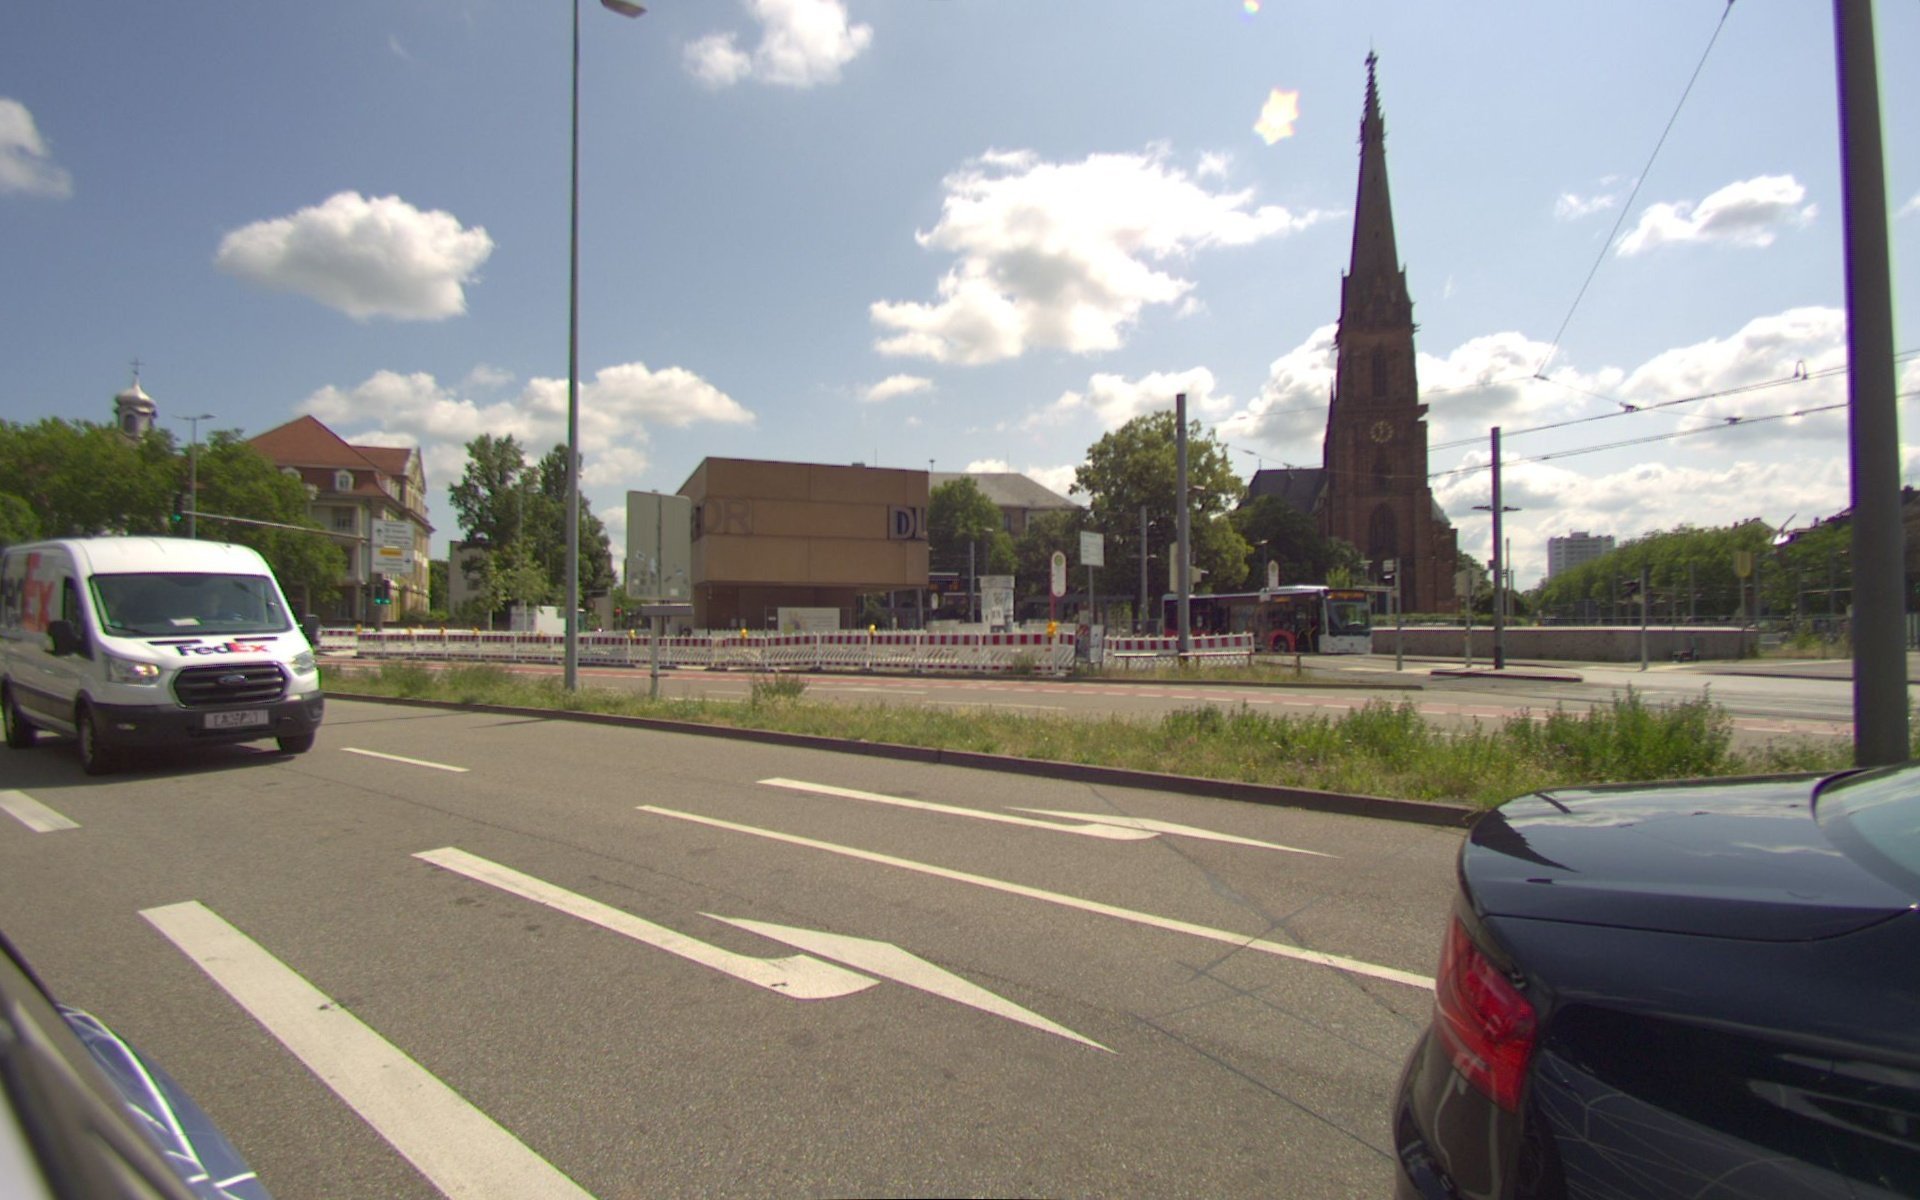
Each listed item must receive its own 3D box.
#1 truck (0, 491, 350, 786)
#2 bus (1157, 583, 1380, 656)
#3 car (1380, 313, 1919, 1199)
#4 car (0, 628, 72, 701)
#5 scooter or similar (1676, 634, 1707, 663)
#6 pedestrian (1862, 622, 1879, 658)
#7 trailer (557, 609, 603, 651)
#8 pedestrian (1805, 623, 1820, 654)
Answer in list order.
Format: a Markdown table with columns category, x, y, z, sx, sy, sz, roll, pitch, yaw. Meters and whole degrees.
| category | x | y | z | sx | sy | sz | roll | pitch | yaw |
| --- | --- | --- | --- | --- | --- | --- | --- | --- | --- |
| truck | -9.500 | 0.419 | 11.784 | 5.908 | 2.660 | 2.117 | -2 | -1 | 38 |
| bus | 13.440 | 0.773 | 45.972 | 2.550 | 2.881 | 12.307 | 0 | 0 | -22 |
| car | 2.953 | 0.521 | 0.388 | 4.791 | 1.654 | 1.907 | -2 | -2 | 42 |
| car | -21.324 | 1.368 | 21.542 | 4.486 | 1.445 | 1.741 | -1 | -1 | 21 |
| scooter or similar | 27.770 | 1.839 | 38.431 | 1.111 | 1.098 | 0.243 | 0 | 0 | -11 |
| pedestrian | 46.085 | 2.024 | 51.225 | 0.520 | 1.806 | 0.619 | 0 | -1 | -42 |
| trailer | -28.009 | 2.149 | 74.575 | 1.967 | 2.936 | 4.375 | 0 | 0 | -37 |
| pedestrian | 49.792 | 2.238 | 59.118 | 0.520 | 1.806 | 0.619 | 0 | -1 | -42 |
